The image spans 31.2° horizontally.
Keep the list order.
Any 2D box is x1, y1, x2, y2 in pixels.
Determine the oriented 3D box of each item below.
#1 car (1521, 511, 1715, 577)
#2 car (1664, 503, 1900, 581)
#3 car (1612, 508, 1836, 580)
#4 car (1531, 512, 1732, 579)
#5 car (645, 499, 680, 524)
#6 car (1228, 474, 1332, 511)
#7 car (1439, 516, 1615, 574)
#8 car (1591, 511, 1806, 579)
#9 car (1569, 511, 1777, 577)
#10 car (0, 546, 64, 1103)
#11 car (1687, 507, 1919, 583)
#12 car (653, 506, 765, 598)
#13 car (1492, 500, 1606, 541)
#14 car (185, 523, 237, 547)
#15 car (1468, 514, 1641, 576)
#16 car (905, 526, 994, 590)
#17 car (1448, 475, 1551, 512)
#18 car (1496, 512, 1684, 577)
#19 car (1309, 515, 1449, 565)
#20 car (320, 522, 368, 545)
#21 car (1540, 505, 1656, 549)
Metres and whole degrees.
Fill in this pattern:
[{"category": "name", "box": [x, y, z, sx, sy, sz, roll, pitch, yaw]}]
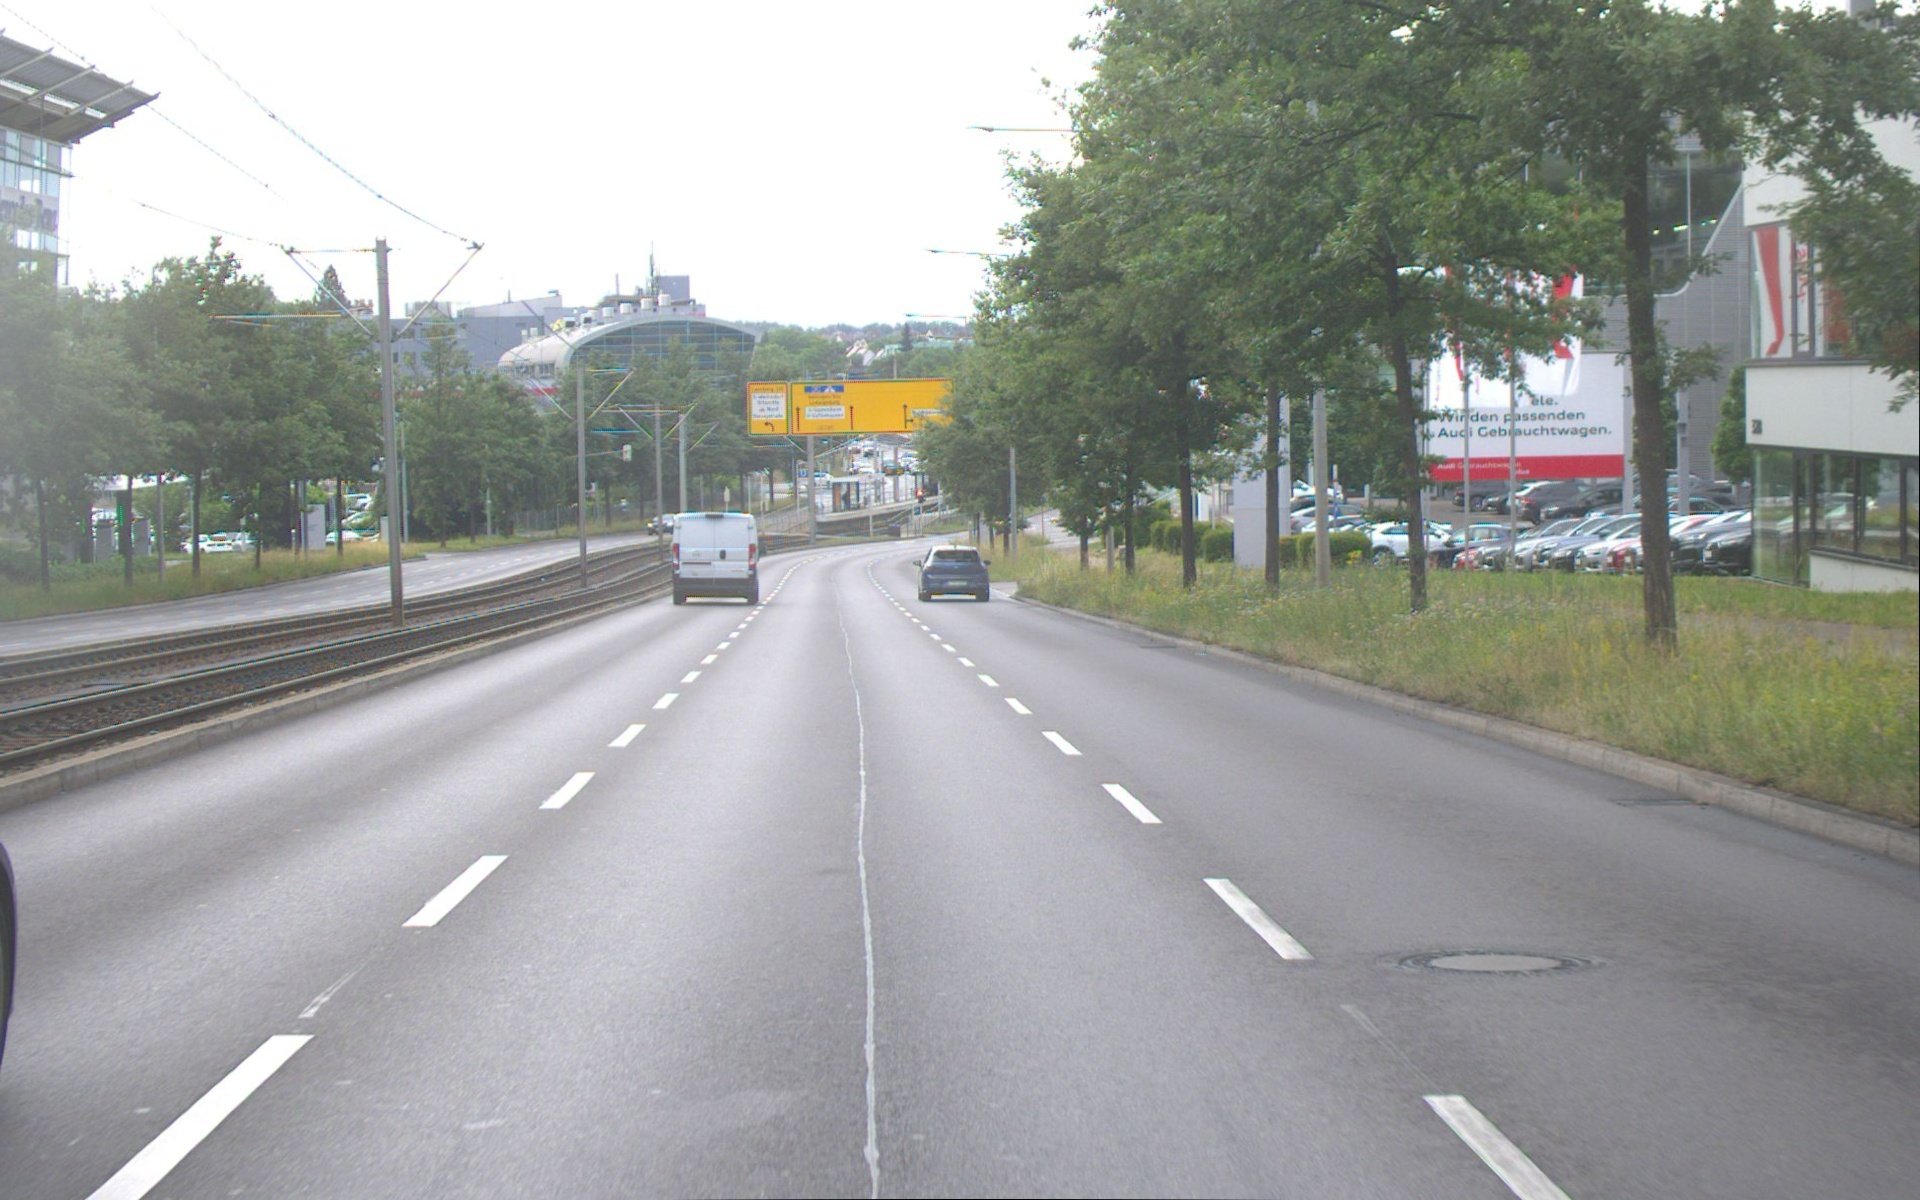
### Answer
[{"category": "car", "box": [16.646, -1.420, 87.093, 4.461, 1.523, 1.931, -2, 1, -3]}, {"category": "car", "box": [17.258, -1.215, 72.284, 4.397, 1.495, 2.040, -2, 1, -2]}, {"category": "car", "box": [16.683, -1.223, 75.169, 4.397, 1.422, 1.891, -2, 1, -2]}, {"category": "car", "box": [16.439, -1.331, 84.284, 4.461, 1.451, 1.931, -2, 1, -3]}, {"category": "car", "box": [-20.290, -6.055, 234.717, 1.883, 1.515, 4.404, -3, 2, 0]}, {"category": "car", "box": [13.750, -4.623, 147.726, 4.258, 1.568, 1.693, 0, 2, -3]}, {"category": "car", "box": [15.814, -1.533, 95.995, 4.460, 1.545, 1.931, -1, 1, -7]}, {"category": "car", "box": [16.753, -1.241, 78.117, 4.397, 1.343, 1.931, -2, 0, -3]}, {"category": "car", "box": [16.824, -1.325, 81.264, 4.461, 1.451, 1.931, -1, 1, -3]}, {"category": "car", "box": [-3.358, 0.614, 7.320, 1.764, 1.458, 4.627, 1, 1, -1]}, {"category": "car", "box": [17.010, -1.104, 69.063, 4.318, 1.373, 1.837, -2, 1, -4]}, {"category": "car", "box": [-6.163, -1.179, 85.044, 2.511, 2.169, 5.150, 1, 1, -2]}, {"category": "car", "box": [23.126, -3.134, 135.054, 4.105, 1.568, 1.826, 0, 2, -3]}, {"category": "car", "box": [-48.303, -4.220, 221.659, 1.993, 1.505, 4.000, 0, 1, -33]}, {"category": "car", "box": [16.046, -1.490, 92.914, 4.276, 1.588, 1.827, -1, 1, -4]}, {"category": "car", "box": [-0.303, -1.099, 90.047, 2.021, 1.617, 4.001, 1, 1, -4]}, {"category": "car", "box": [23.238, -4.588, 148.106, 4.105, 1.568, 1.693, 0, 2, -3]}, {"category": "car", "box": [16.482, -1.443, 90.071, 4.461, 1.545, 1.931, -2, 1, -3]}, {"category": "car", "box": [13.640, -1.939, 112.028, 4.104, 1.588, 1.949, 0, 0, -10]}, {"category": "car", "box": [-40.362, -4.362, 225.228, 1.993, 1.505, 4.001, 1, 1, -27]}, {"category": "car", "box": [24.566, -2.826, 132.515, 4.105, 1.568, 1.693, -1, 2, -3]}]
